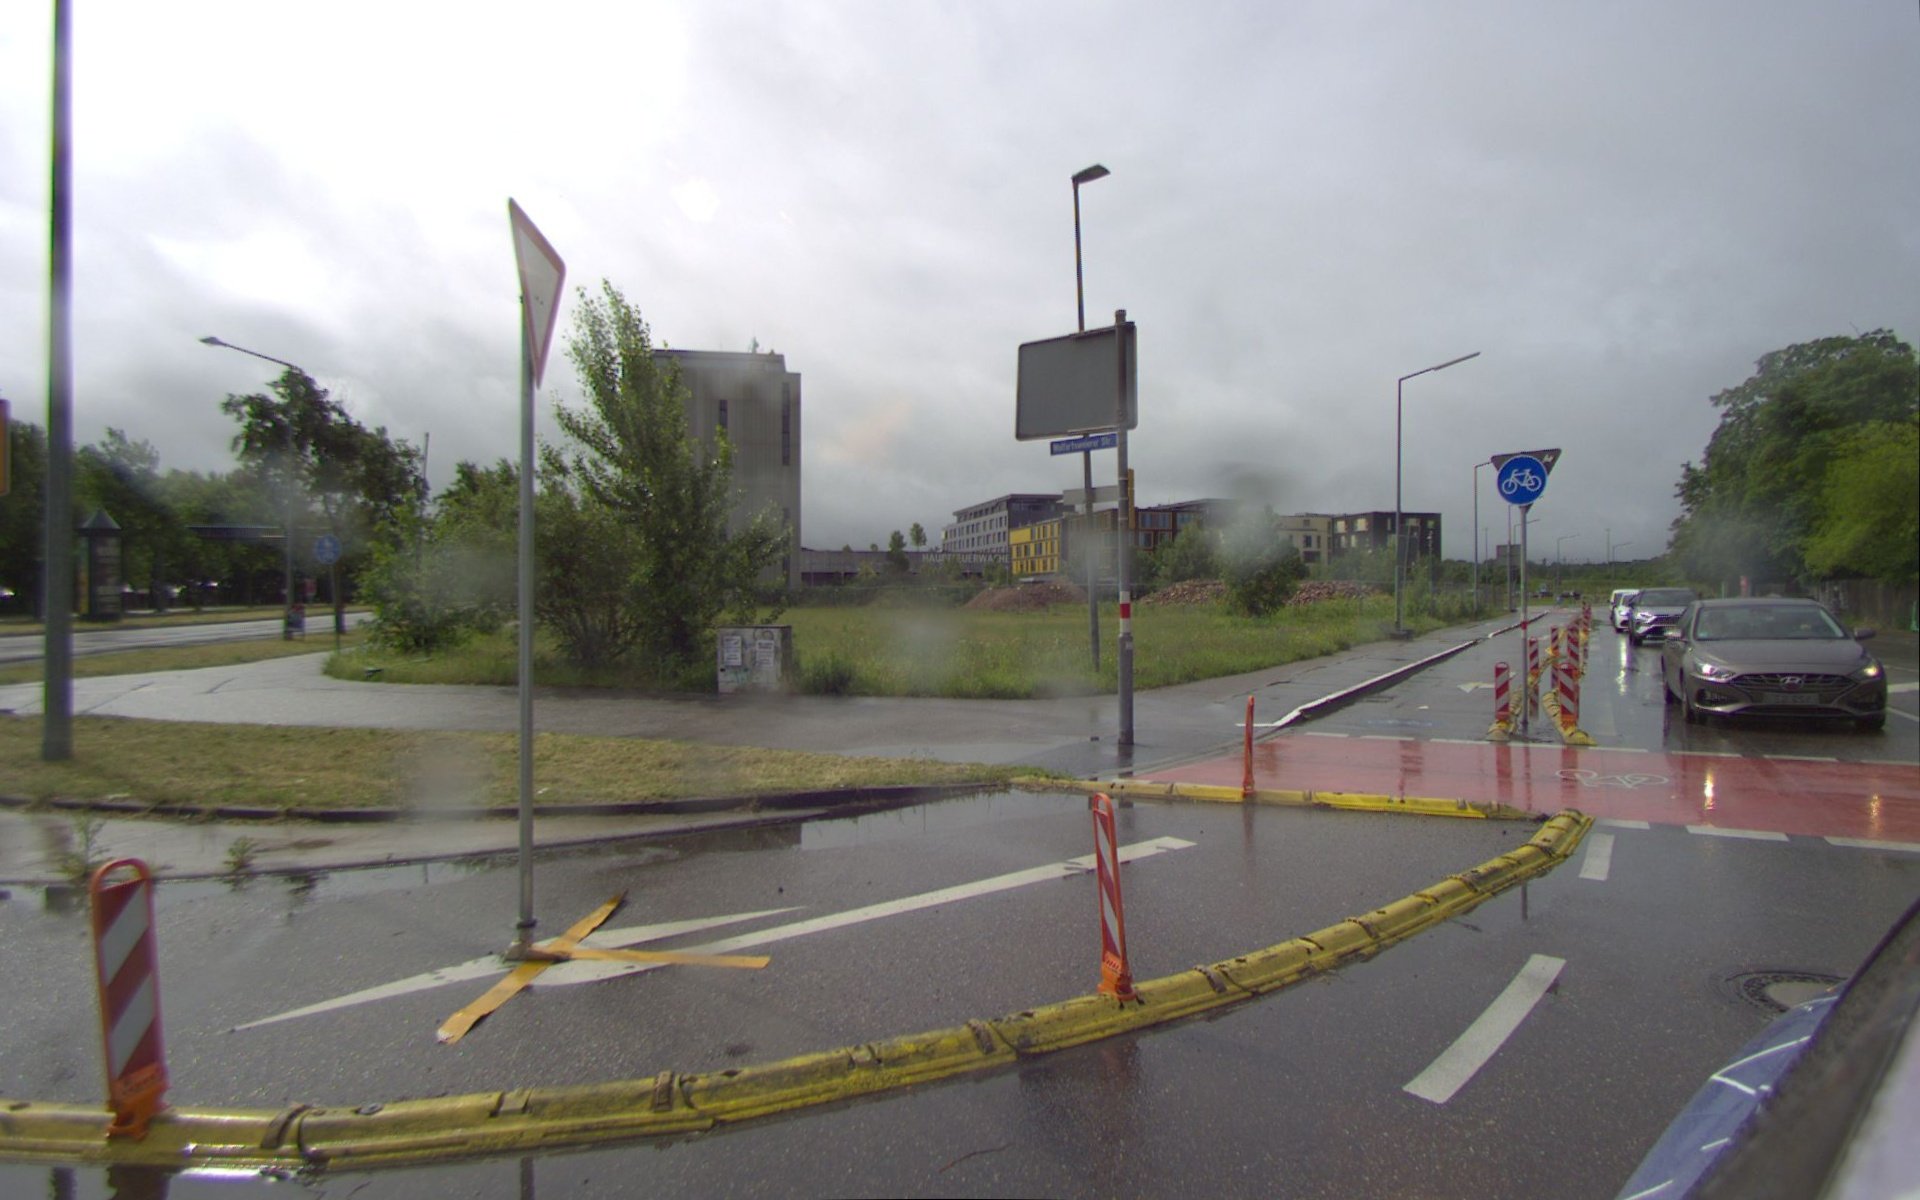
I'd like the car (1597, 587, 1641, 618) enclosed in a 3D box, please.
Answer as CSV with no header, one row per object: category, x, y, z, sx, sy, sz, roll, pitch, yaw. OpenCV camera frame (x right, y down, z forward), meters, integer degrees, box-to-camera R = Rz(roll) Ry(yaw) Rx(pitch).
car,39.186,0.145,60.275,1.859,1.684,4.436,-3,-1,30

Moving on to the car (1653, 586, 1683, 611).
car,68.169,-0.120,97.461,1.983,2.364,3.958,0,0,30

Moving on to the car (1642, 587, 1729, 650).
car,20.985,0.507,29.339,1.863,1.684,4.426,-1,-1,35

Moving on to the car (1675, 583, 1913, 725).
car,9.914,0.579,12.350,1.722,1.431,4.079,-1,-1,33

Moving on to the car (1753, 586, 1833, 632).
car,30.411,0.313,37.030,1.619,1.552,3.422,1,0,29

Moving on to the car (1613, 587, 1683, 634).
car,27.021,0.396,39.862,1.859,1.684,4.436,-2,-1,30
